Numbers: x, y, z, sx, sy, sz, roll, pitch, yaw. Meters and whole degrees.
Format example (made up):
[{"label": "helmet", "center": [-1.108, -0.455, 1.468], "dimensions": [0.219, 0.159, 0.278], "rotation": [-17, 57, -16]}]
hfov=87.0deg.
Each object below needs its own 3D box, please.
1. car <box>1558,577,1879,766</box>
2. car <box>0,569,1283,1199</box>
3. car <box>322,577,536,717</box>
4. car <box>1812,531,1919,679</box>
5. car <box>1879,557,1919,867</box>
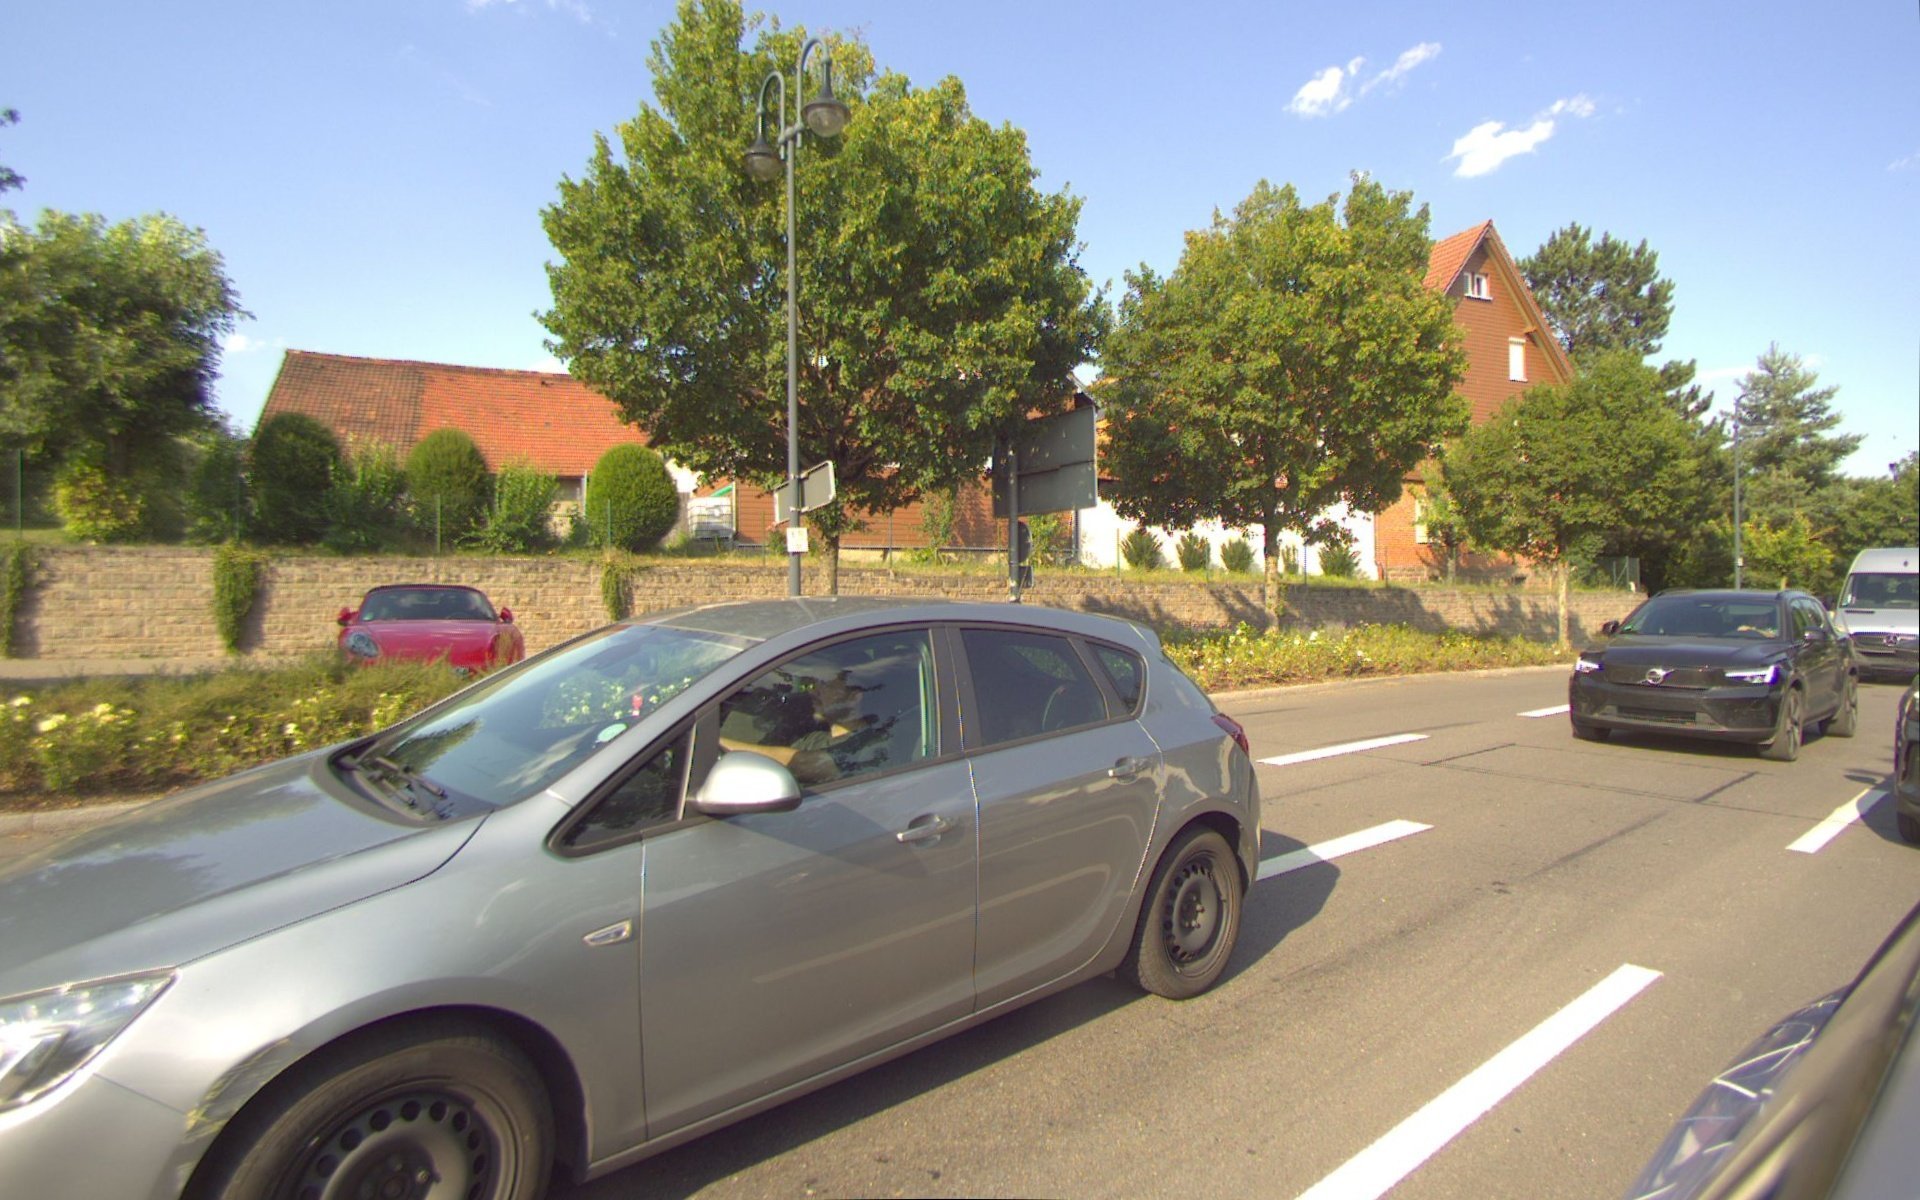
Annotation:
[{"label": "car", "center": [8.175, 0.604, 10.786], "dimensions": [4.054, 1.629, 1.885], "rotation": [0, 0, -40]}, {"label": "car", "center": [-0.819, 0.671, 3.308], "dimensions": [4.095, 1.460, 1.746], "rotation": [0, 0, -42]}, {"label": "car", "center": [-5.966, 0.422, 11.471], "dimensions": [1.816, 1.288, 4.005], "rotation": [0, 0, -28]}, {"label": "car", "center": [18.921, 0.075, 19.862], "dimensions": [6.082, 2.579, 2.369], "rotation": [0, 0, -40]}, {"label": "car", "center": [7.461, 0.601, 6.377], "dimensions": [4.646, 1.677, 1.893], "rotation": [0, 0, -40]}]
